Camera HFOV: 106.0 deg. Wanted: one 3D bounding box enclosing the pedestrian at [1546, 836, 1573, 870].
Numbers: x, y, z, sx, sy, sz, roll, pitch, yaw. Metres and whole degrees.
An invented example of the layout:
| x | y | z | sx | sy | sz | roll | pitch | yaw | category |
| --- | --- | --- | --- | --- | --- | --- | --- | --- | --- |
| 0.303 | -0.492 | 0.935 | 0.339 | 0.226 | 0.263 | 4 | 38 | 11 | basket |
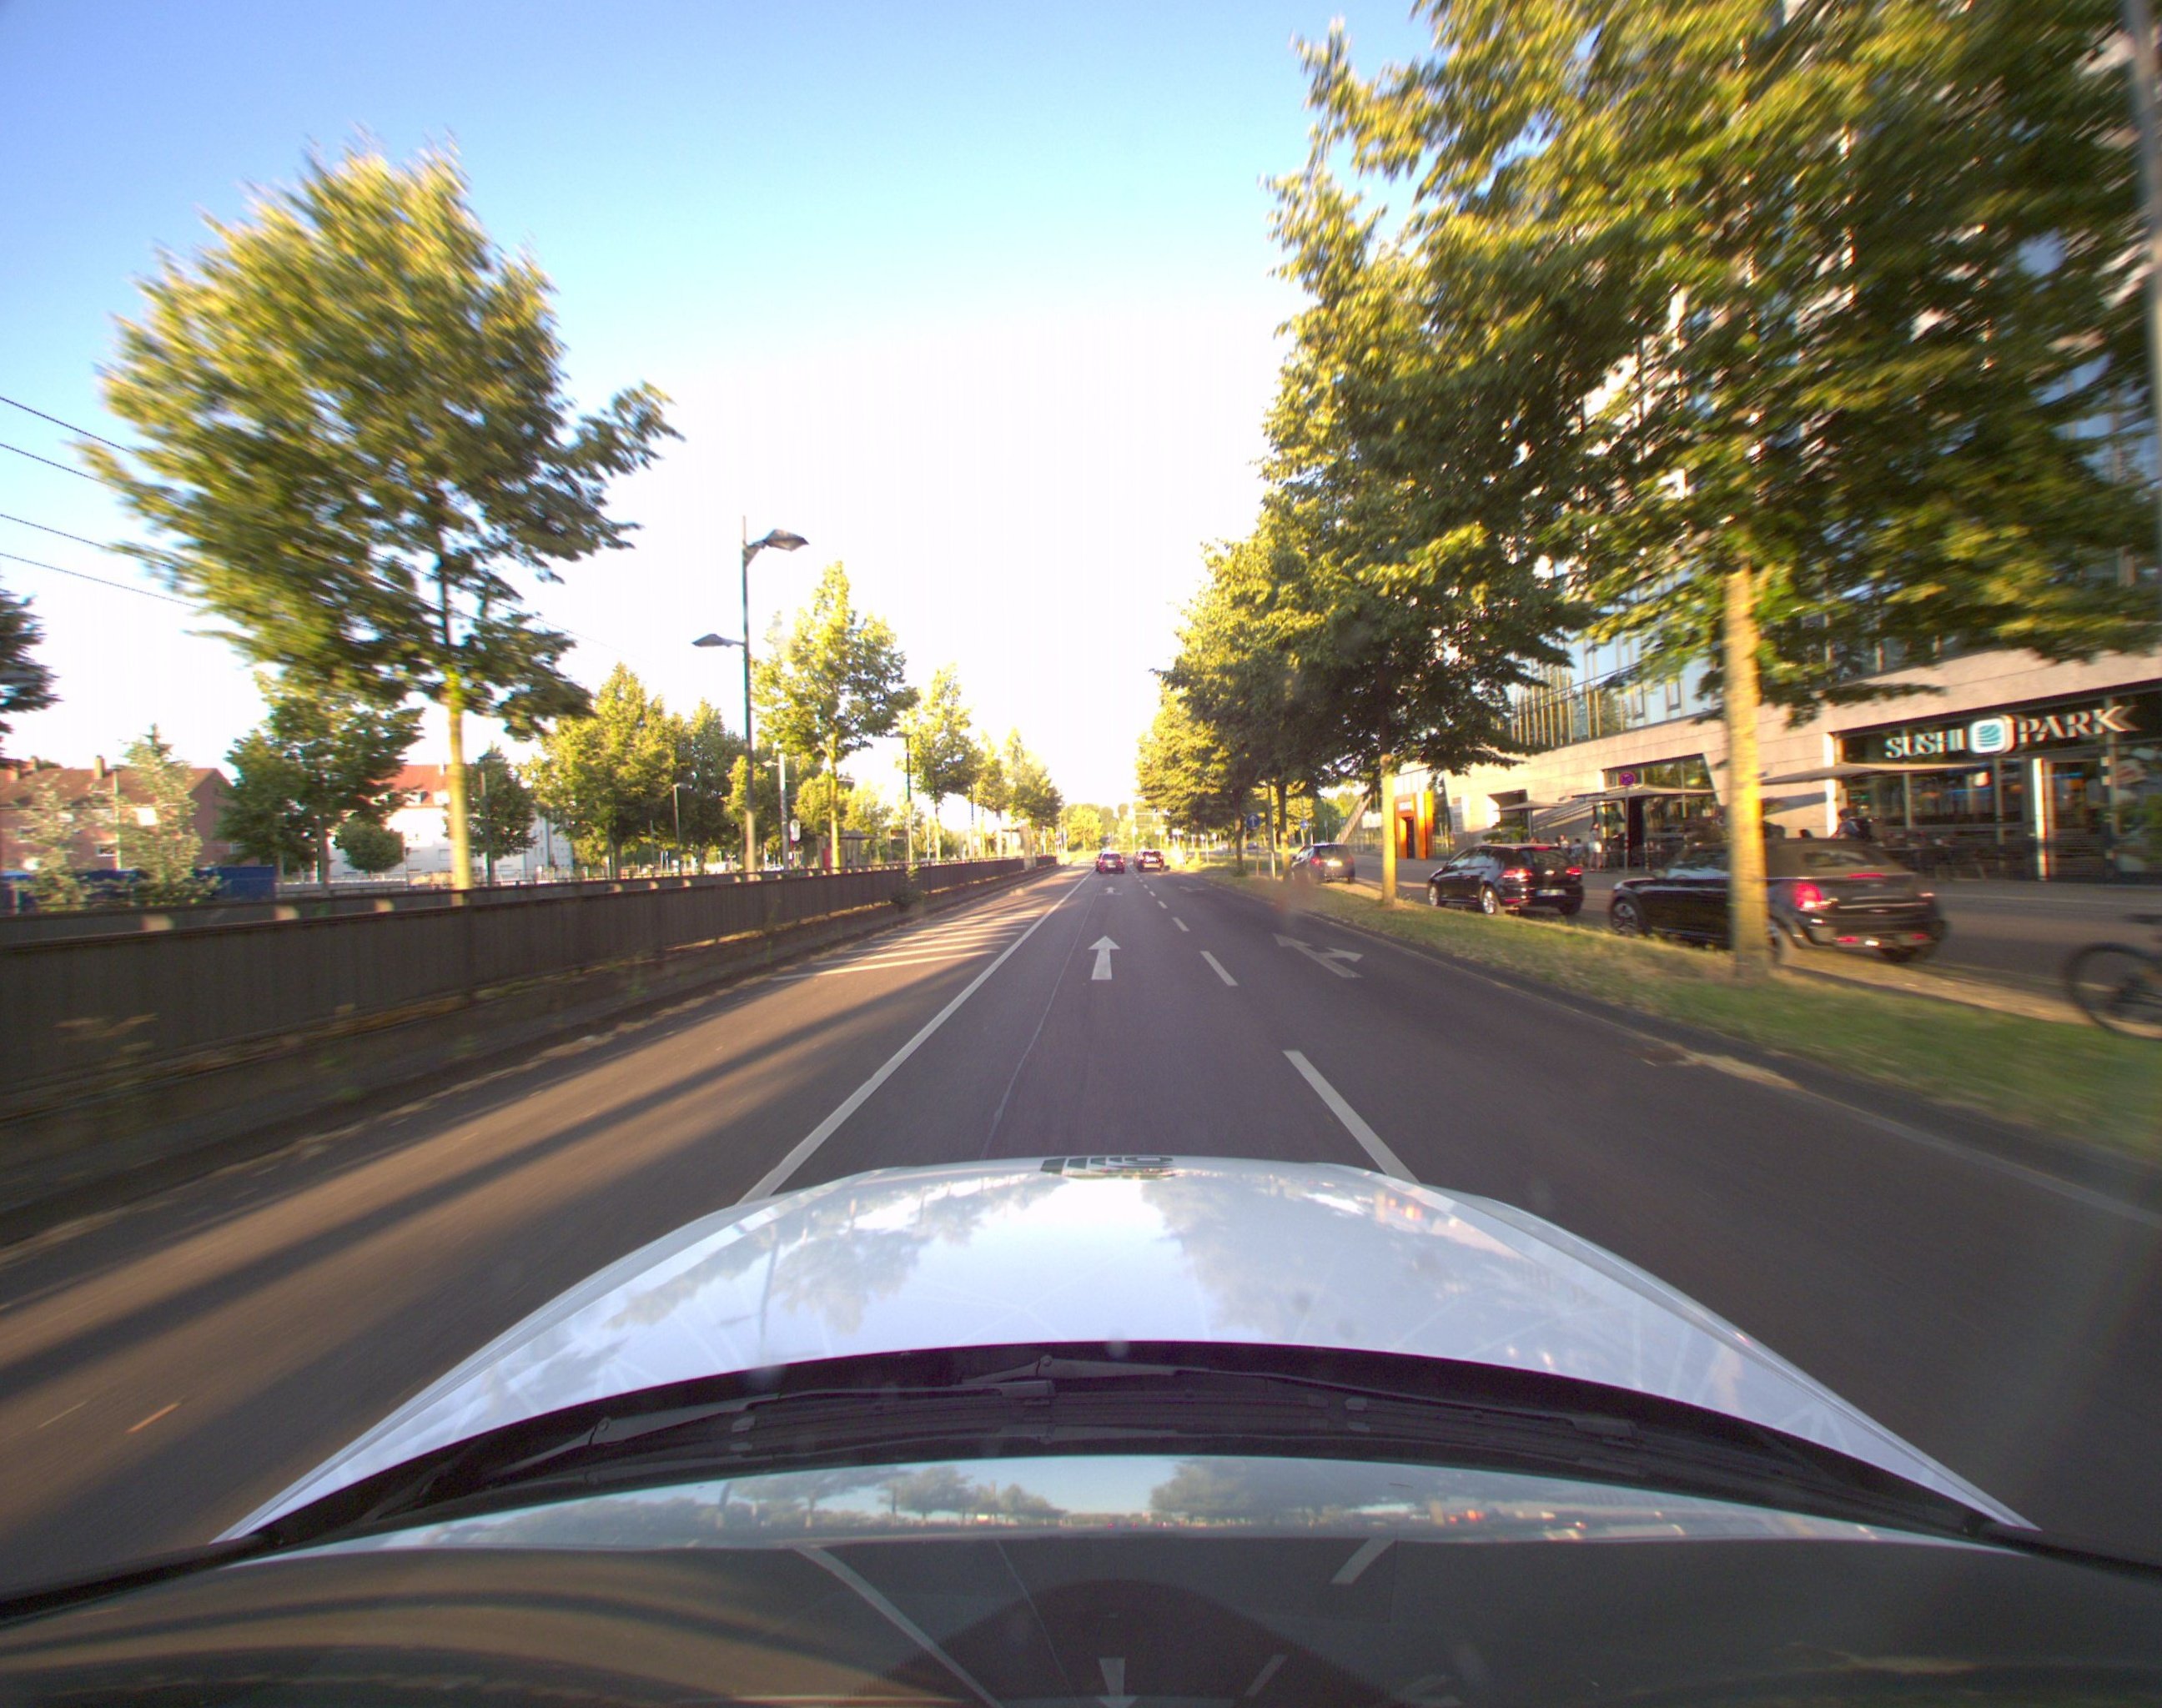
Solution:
| x | y | z | sx | sy | sz | roll | pitch | yaw | category |
| --- | --- | --- | --- | --- | --- | --- | --- | --- | --- |
| 18.596 | -0.048 | 31.651 | 0.577 | 1.282 | 0.738 | -2 | 0 | -2 | pedestrian |

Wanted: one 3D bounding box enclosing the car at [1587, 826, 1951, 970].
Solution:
| x | y | z | sx | sy | sz | roll | pitch | yaw | category |
| --- | --- | --- | --- | --- | --- | --- | --- | --- | --- |
| 8.537 | 0.460 | 10.625 | 1.569 | 1.472 | 3.884 | -2 | 0 | 3 | car |

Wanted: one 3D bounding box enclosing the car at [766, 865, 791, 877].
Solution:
| x | y | z | sx | sy | sz | roll | pitch | yaw | category |
| --- | --- | --- | --- | --- | --- | --- | --- | --- | --- |
| -45.849 | 2.605 | 123.503 | 1.986 | 1.662 | 4.002 | -2 | 0 | 2 | car |

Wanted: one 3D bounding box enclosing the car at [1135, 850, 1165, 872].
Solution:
| x | y | z | sx | sy | sz | roll | pitch | yaw | category |
| --- | --- | --- | --- | --- | --- | --- | --- | --- | --- |
| 4.977 | 0.461 | 59.042 | 1.905 | 1.486 | 4.001 | -2 | 0 | 1 | car |

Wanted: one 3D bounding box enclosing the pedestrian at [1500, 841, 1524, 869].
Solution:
| x | y | z | sx | sy | sz | roll | pitch | yaw | category |
| --- | --- | --- | --- | --- | --- | --- | --- | --- | --- |
| 18.645 | 0.031 | 35.275 | 0.569 | 1.186 | 0.862 | -2 | 0 | 3 | pedestrian |

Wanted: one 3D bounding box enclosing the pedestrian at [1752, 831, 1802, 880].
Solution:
| x | y | z | sx | sy | sz | roll | pitch | yaw | category |
| --- | --- | --- | --- | --- | --- | --- | --- | --- | --- |
| 17.935 | 0.035 | 21.007 | 0.569 | 1.195 | 0.807 | -2 | 0 | 2 | pedestrian |

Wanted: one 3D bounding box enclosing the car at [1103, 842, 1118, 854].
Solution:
| x | y | z | sx | sy | sz | roll | pitch | yaw | category |
| --- | --- | --- | --- | --- | --- | --- | --- | --- | --- |
| 4.104 | -0.855 | 113.099 | 1.905 | 1.486 | 4.001 | -2 | 0 | 1 | car |

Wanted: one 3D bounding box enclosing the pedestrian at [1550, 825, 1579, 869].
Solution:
| x | y | z | sx | sy | sz | roll | pitch | yaw | category |
| --- | --- | --- | --- | --- | --- | --- | --- | --- | --- |
| 19.269 | -0.292 | 32.494 | 0.635 | 1.718 | 0.695 | -2 | 0 | -18 | pedestrian |

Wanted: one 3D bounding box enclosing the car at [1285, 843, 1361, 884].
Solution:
| x | y | z | sx | sy | sz | roll | pitch | yaw | category |
| --- | --- | --- | --- | --- | --- | --- | --- | --- | --- |
| 9.598 | 0.348 | 32.598 | 1.751 | 1.466 | 4.158 | -2 | 0 | 0 | car |

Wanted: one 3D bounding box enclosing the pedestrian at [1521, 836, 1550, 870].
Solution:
| x | y | z | sx | sy | sz | roll | pitch | yaw | category |
| --- | --- | --- | --- | --- | --- | --- | --- | --- | --- |
| 17.862 | -0.039 | 31.988 | 0.627 | 1.282 | 0.712 | -2 | 0 | -19 | pedestrian |

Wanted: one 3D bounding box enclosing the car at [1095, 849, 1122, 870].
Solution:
| x | y | z | sx | sy | sz | roll | pitch | yaw | category |
| --- | --- | --- | --- | --- | --- | --- | --- | --- | --- |
| 2.087 | 0.413 | 61.638 | 1.905 | 1.486 | 4.001 | -2 | 0 | 1 | car |

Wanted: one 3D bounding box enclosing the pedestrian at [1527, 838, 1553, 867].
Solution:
| x | y | z | sx | sy | sz | roll | pitch | yaw | category |
| --- | --- | --- | --- | --- | --- | --- | --- | --- | --- |
| 19.287 | -0.069 | 34.212 | 0.618 | 1.186 | 0.713 | -2 | 0 | -35 | pedestrian |

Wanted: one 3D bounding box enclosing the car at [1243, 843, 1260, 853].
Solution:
| x | y | z | sx | sy | sz | roll | pitch | yaw | category |
| --- | --- | --- | --- | --- | --- | --- | --- | --- | --- |
| 31.473 | -1.039 | 150.536 | 1.975 | 1.728 | 4.025 | -2 | 0 | 28 | car |

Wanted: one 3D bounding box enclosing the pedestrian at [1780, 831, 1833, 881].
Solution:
| x | y | z | sx | sy | sz | roll | pitch | yaw | category |
| --- | --- | --- | --- | --- | --- | --- | --- | --- | --- |
| 17.868 | 0.051 | 20.065 | 0.569 | 1.195 | 0.807 | -2 | 0 | 4 | pedestrian |

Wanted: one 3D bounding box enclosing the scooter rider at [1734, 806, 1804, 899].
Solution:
| x | y | z | sx | sy | sz | roll | pitch | yaw | category |
| --- | --- | --- | --- | --- | --- | --- | --- | --- | --- |
| 12.535 | -0.030 | 14.862 | 0.524 | 1.638 | 0.832 | -2 | 0 | 0 | scooter rider |

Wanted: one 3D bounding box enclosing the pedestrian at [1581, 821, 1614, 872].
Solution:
| x | y | z | sx | sy | sz | roll | pitch | yaw | category |
| --- | --- | --- | --- | --- | --- | --- | --- | --- | --- |
| 18.049 | -0.245 | 28.459 | 0.707 | 1.737 | 0.683 | -2 | 0 | -28 | pedestrian |

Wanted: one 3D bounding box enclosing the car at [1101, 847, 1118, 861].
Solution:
| x | y | z | sx | sy | sz | roll | pitch | yaw | category |
| --- | --- | --- | --- | --- | --- | --- | --- | --- | --- |
| 3.325 | -0.017 | 96.500 | 1.905 | 1.486 | 4.001 | -2 | 0 | 1 | car |

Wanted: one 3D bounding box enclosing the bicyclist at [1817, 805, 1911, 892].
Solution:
| x | y | z | sx | sy | sz | roll | pitch | yaw | category |
| --- | --- | --- | --- | --- | --- | --- | --- | --- | --- |
| 14.776 | -0.104 | 15.394 | 0.769 | 1.566 | 0.992 | -3 | 0 | 0 | bicyclist |

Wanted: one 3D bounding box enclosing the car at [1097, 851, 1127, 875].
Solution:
| x | y | z | sx | sy | sz | roll | pitch | yaw | category |
| --- | --- | --- | --- | --- | --- | --- | --- | --- | --- |
| 2.105 | 0.556 | 55.301 | 1.905 | 1.486 | 4.001 | -2 | 0 | 1 | car |

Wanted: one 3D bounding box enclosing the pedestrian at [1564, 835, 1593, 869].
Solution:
| x | y | z | sx | sy | sz | roll | pitch | yaw | category |
| --- | --- | --- | --- | --- | --- | --- | --- | --- | --- |
| 19.324 | -0.060 | 31.658 | 0.580 | 1.282 | 0.735 | -2 | 0 | -16 | pedestrian |

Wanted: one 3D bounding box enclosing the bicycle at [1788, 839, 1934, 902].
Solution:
| x | y | z | sx | sy | sz | roll | pitch | yaw | category |
| --- | --- | --- | --- | --- | --- | --- | --- | --- | --- |
| 14.781 | 0.285 | 15.520 | 0.769 | 1.079 | 2.063 | -3 | 0 | 0 | bicycle |

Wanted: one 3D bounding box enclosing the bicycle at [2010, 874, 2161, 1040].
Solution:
| x | y | z | sx | sy | sz | roll | pitch | yaw | category |
| --- | --- | --- | --- | --- | --- | --- | --- | --- | --- |
| 6.727 | 0.642 | 4.858 | 0.317 | 0.980 | 1.848 | -2 | 0 | 3 | bicycle |

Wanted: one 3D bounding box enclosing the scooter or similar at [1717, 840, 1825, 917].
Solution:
| x | y | z | sx | sy | sz | roll | pitch | yaw | category |
| --- | --- | --- | --- | --- | --- | --- | --- | --- | --- |
| 12.547 | 0.423 | 14.873 | 0.524 | 1.310 | 1.664 | -2 | 0 | 0 | scooter or similar |

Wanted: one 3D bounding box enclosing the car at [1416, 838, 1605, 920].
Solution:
| x | y | z | sx | sy | sz | roll | pitch | yaw | category |
| --- | --- | --- | --- | --- | --- | --- | --- | --- | --- |
| 8.950 | 0.470 | 17.440 | 1.772 | 1.472 | 4.288 | -2 | 0 | 0 | car |

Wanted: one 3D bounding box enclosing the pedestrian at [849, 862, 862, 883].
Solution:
| x | y | z | sx | sy | sz | roll | pitch | yaw | category |
| --- | --- | --- | --- | --- | --- | --- | --- | --- | --- |
| -14.918 | 1.232 | 53.899 | 0.613 | 1.319 | 0.744 | -2 | 0 | -1 | pedestrian |
